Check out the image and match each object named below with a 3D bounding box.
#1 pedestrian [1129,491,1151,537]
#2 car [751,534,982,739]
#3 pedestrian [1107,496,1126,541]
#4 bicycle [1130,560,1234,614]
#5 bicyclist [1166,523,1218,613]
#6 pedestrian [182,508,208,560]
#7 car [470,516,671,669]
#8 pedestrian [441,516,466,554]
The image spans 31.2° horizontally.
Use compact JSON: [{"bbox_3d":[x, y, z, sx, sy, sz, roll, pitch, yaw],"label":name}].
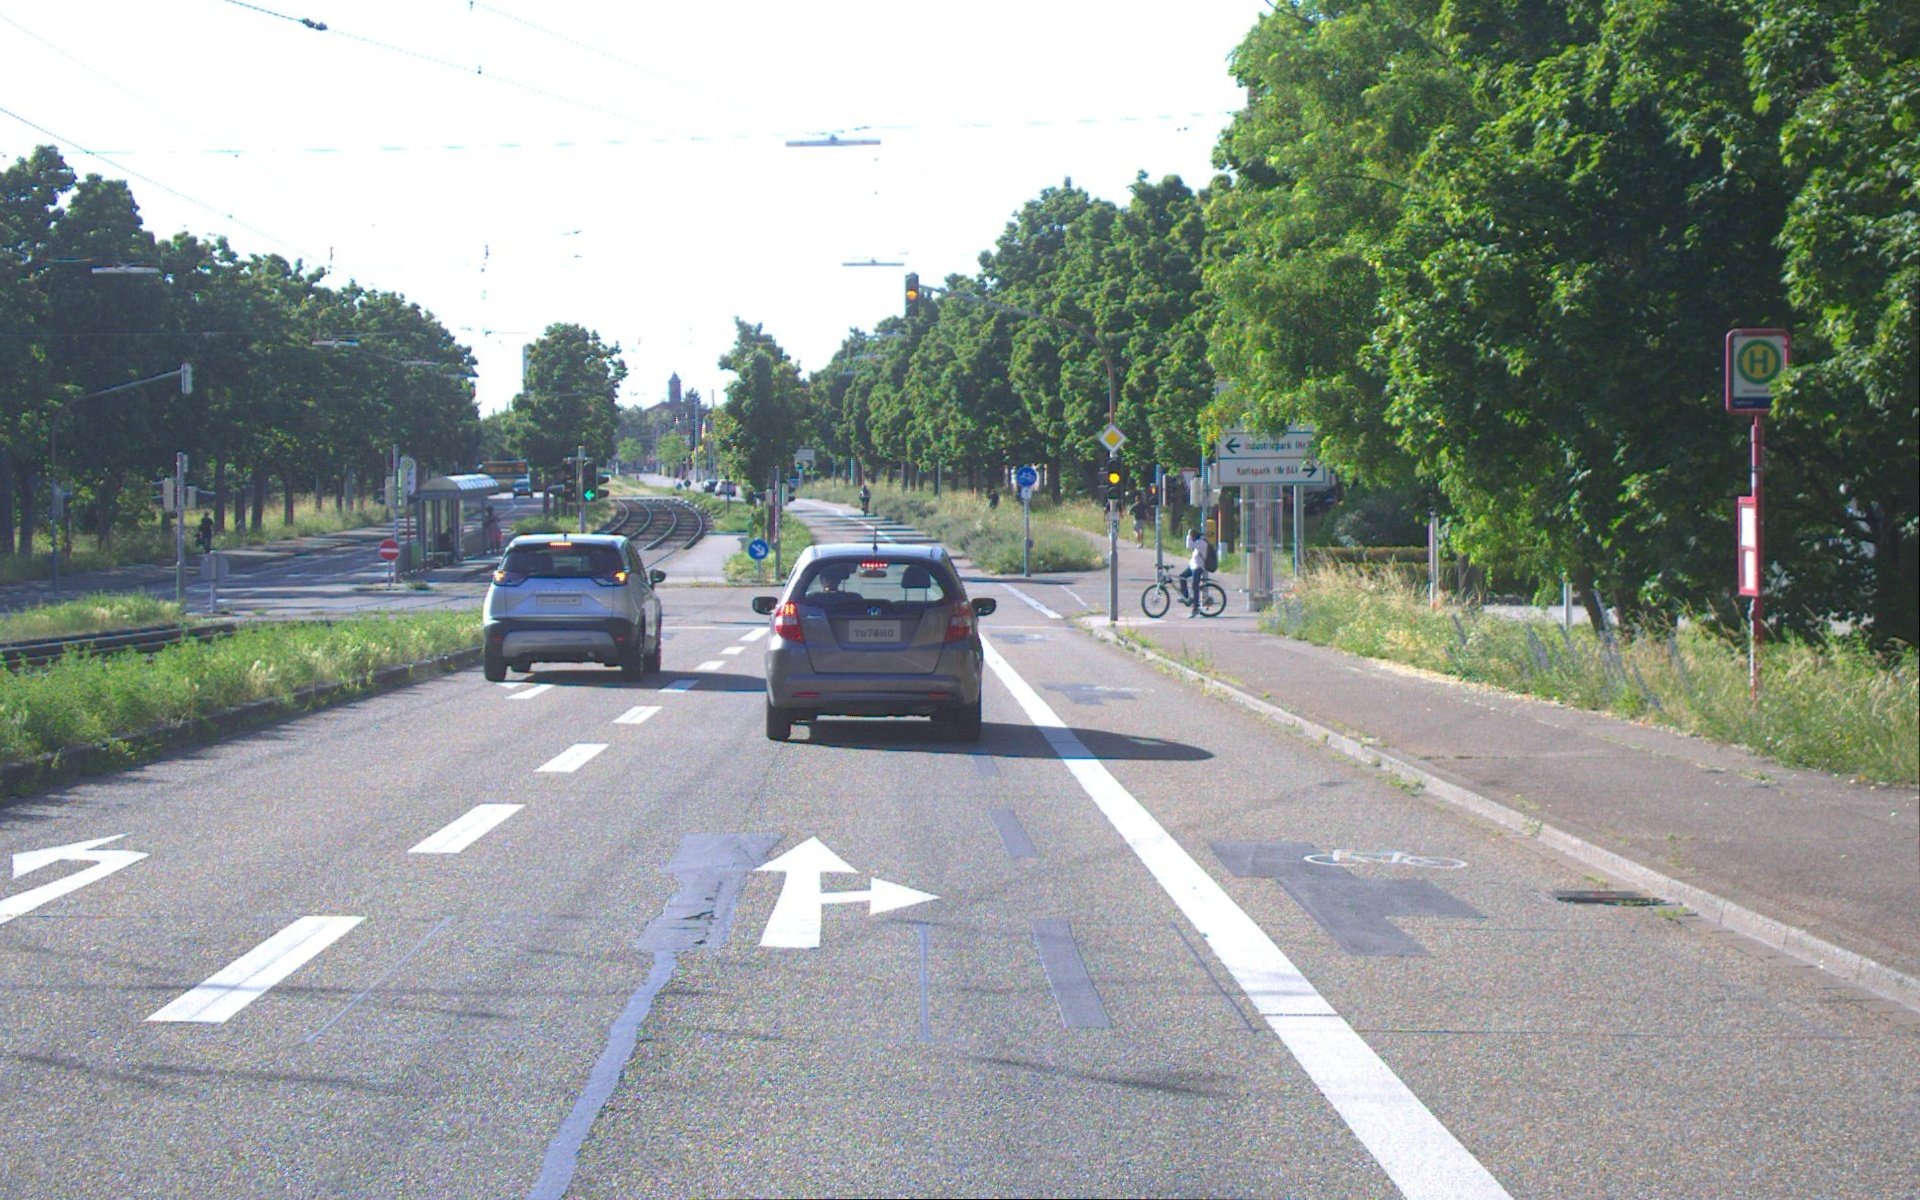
[{"bbox_3d":[6.429,-3.065,122.543,0.678,1.604,0.721,1,1,-3],"label":"pedestrian"},{"bbox_3d":[-0.704,0.233,27.730,1.707,1.503,4.000,1,1,0],"label":"car"},{"bbox_3d":[5.565,-2.918,122.567,0.567,1.591,0.666,1,1,-4],"label":"pedestrian"},{"bbox_3d":[4.338,-0.248,67.211,1.921,0.994,0.764,-2,0,10],"label":"bicycle"},{"bbox_3d":[4.540,-0.620,67.167,0.910,1.739,0.764,-1,0,10],"label":"bicyclist"},{"bbox_3d":[-29.853,-2.568,134.105,0.839,2.007,0.863,0,1,-2],"label":"pedestrian"},{"bbox_3d":[-4.297,-0.116,38.452,1.850,1.601,4.255,0,1,-1],"label":"car"},{"bbox_3d":[-16.705,-2.132,113.354,0.721,1.241,0.711,-1,1,-2],"label":"pedestrian"}]
